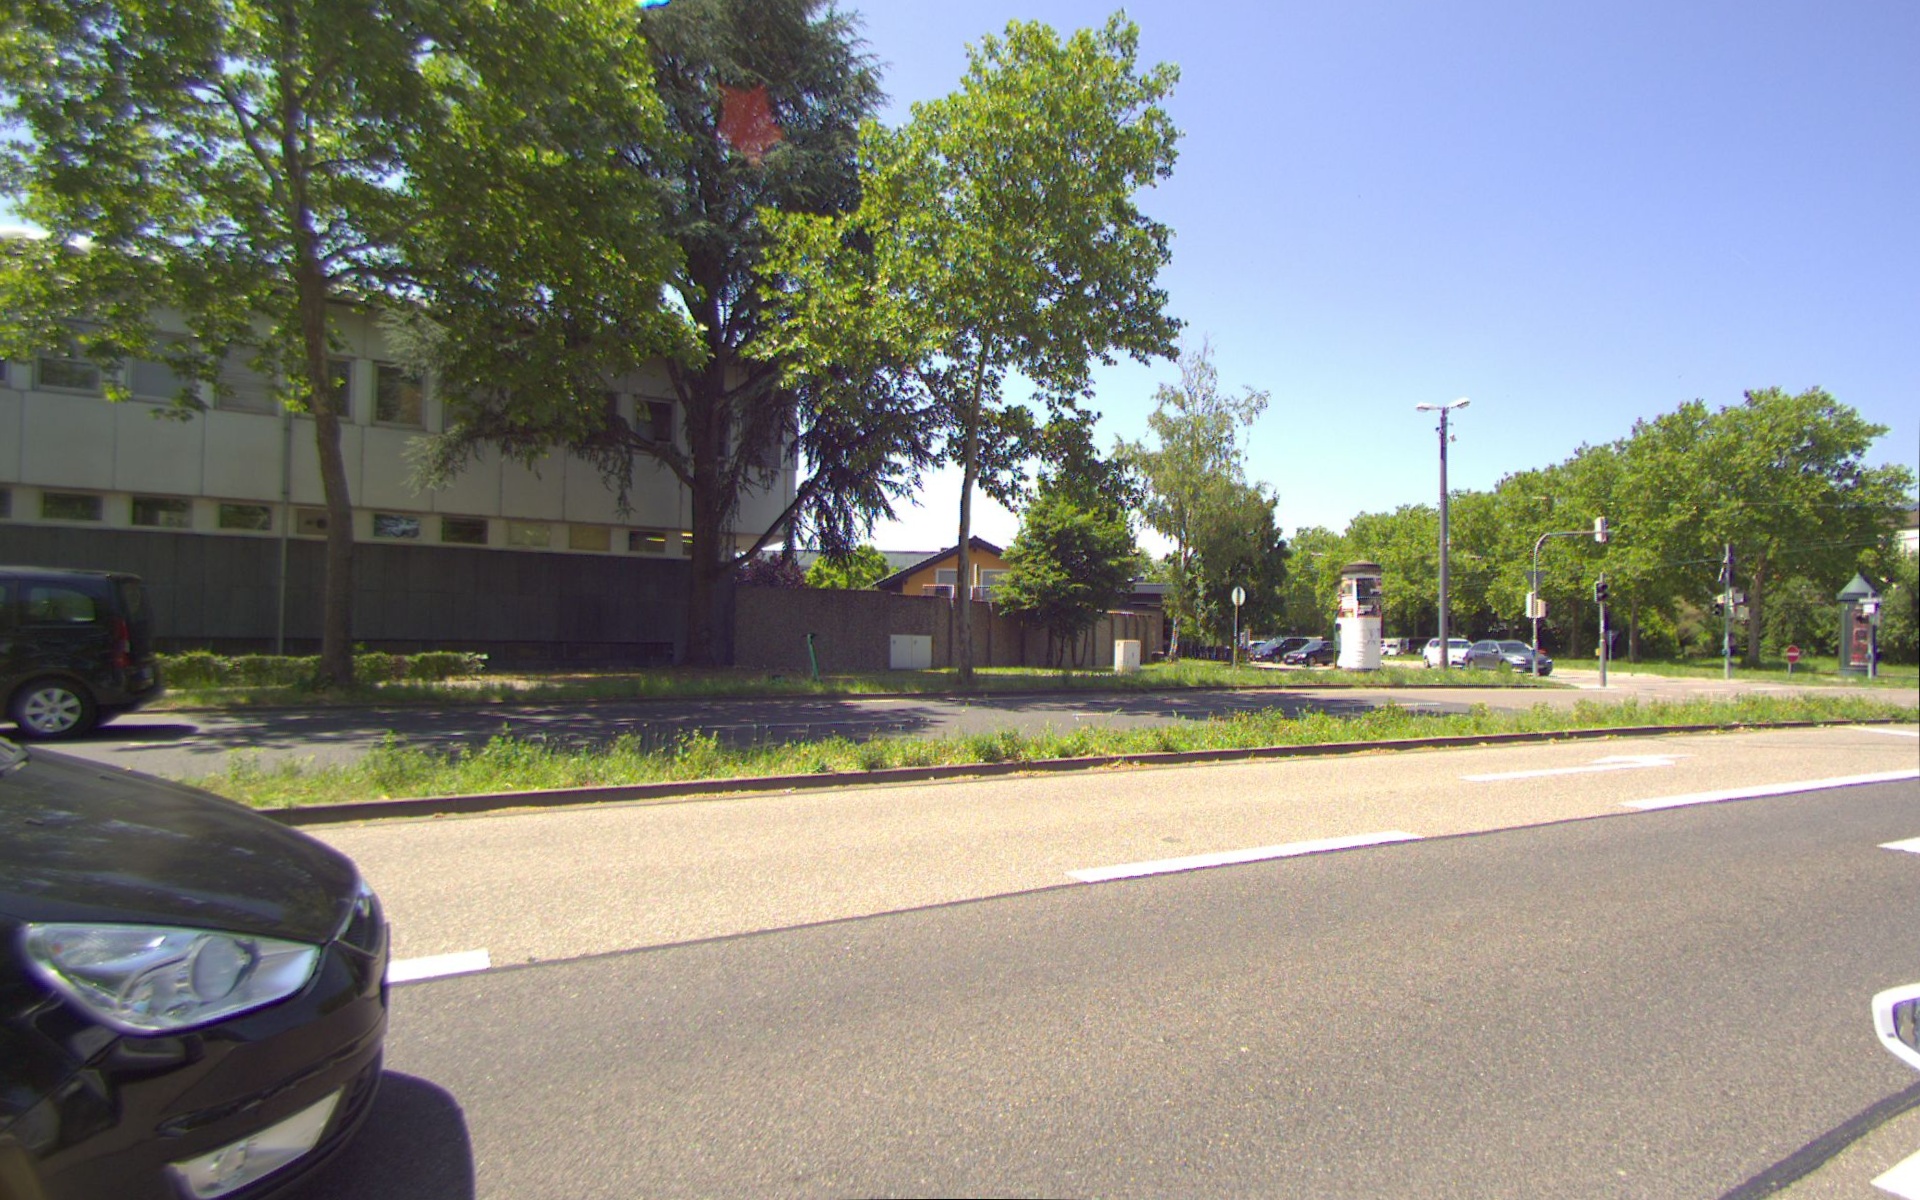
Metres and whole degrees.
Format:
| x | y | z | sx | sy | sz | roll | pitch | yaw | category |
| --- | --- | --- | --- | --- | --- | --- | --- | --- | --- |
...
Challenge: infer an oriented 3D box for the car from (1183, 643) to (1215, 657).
| x | y | z | sx | sy | sz | roll | pitch | yaw | category |
| --- | --- | --- | --- | --- | --- | --- | --- | --- | --- |
| 21.234 | 4.437 | 89.218 | 2.849 | 1.221 | 1.176 | 1 | -2 | -36 | car |

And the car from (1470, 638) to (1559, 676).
| x | y | z | sx | sy | sz | roll | pitch | yaw | category |
| --- | --- | --- | --- | --- | --- | --- | --- | --- | --- |
| 23.775 | 2.415 | 43.235 | 1.729 | 1.476 | 3.994 | 1 | -2 | 2 | car |

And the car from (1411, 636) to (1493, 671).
| x | y | z | sx | sy | sz | roll | pitch | yaw | category |
| --- | --- | --- | --- | --- | --- | --- | --- | --- | --- |
| 24.392 | 2.631 | 50.022 | 2.172 | 1.625 | 4.464 | 1 | -2 | 5 | car |

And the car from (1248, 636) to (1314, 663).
| x | y | z | sx | sy | sz | roll | pitch | yaw | category |
| --- | --- | --- | --- | --- | --- | --- | --- | --- | --- |
| 21.219 | 3.285 | 66.438 | 4.139 | 1.672 | 1.772 | 2 | -2 | -27 | car |

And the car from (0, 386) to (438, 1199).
| x | y | z | sx | sy | sz | roll | pitch | yaw | category |
| --- | --- | --- | --- | --- | --- | --- | --- | --- | --- |
| -3.500 | 0.488 | 1.669 | 4.593 | 1.779 | 1.846 | 2 | -1 | -30 | car |

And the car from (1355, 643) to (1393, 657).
| x | y | z | sx | sy | sz | roll | pitch | yaw | category |
| --- | --- | --- | --- | --- | --- | --- | --- | --- | --- |
| 43.951 | 5.275 | 106.714 | 3.481 | 1.415 | 1.500 | 1 | -2 | -3 | car |

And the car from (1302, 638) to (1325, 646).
| x | y | z | sx | sy | sz | roll | pitch | yaw | category |
| --- | --- | --- | --- | --- | --- | --- | --- | --- | --- |
| 47.559 | 5.599 | 135.120 | 2.667 | 1.007 | 1.009 | 1 | -2 | -1 | car |

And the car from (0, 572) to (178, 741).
| x | y | z | sx | sy | sz | roll | pitch | yaw | category |
| --- | --- | --- | --- | --- | --- | --- | --- | --- | --- |
| -11.001 | 0.546 | 10.338 | 4.393 | 1.701 | 1.902 | 2 | -1 | -31 | car |
